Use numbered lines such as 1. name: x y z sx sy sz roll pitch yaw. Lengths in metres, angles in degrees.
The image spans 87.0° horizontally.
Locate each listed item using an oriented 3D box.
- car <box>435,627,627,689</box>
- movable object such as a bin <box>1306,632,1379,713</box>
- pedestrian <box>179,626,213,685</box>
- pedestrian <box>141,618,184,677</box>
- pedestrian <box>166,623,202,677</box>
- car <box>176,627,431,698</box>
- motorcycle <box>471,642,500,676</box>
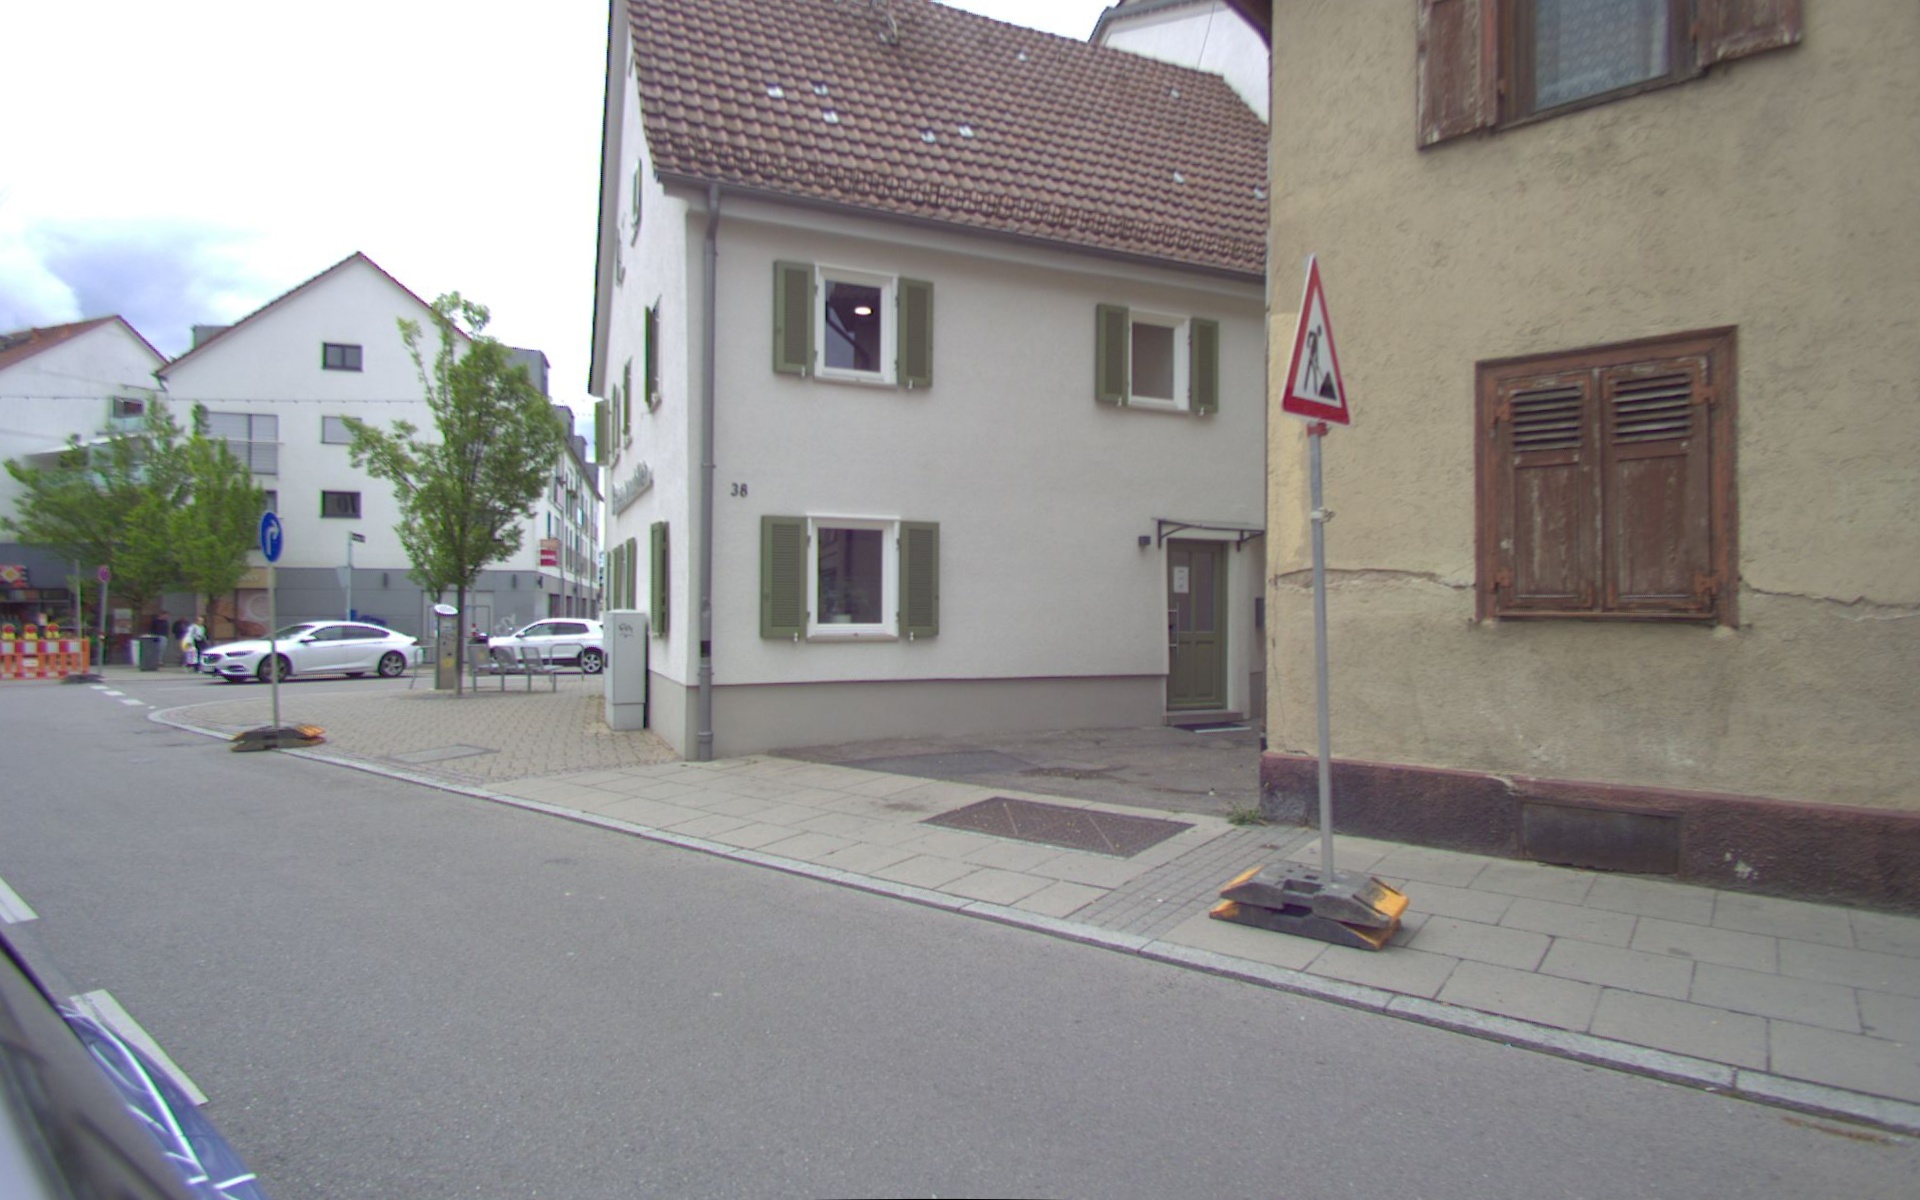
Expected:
1. car: -12.243 1.625 29.235 4.836 1.569 2.027 -1 -1 -14
2. movable object such as a bin: 5.126 0.956 13.542 0.647 0.988 0.848 -2 1 40
3. pedestrian: -21.250 1.527 28.145 0.672 1.604 0.880 2 -3 -41
4. pedestrian: -26.640 1.583 33.799 0.774 1.940 0.816 -1 -2 2
5. pedestrian: -26.584 1.708 34.683 0.708 1.804 0.694 -1 -2 -2
6. car: -16.107 1.471 25.140 2.239 1.488 4.871 -2 -1 28
7. motorcycle: -17.655 2.183 37.663 0.563 1.157 1.791 -3 0 -13
